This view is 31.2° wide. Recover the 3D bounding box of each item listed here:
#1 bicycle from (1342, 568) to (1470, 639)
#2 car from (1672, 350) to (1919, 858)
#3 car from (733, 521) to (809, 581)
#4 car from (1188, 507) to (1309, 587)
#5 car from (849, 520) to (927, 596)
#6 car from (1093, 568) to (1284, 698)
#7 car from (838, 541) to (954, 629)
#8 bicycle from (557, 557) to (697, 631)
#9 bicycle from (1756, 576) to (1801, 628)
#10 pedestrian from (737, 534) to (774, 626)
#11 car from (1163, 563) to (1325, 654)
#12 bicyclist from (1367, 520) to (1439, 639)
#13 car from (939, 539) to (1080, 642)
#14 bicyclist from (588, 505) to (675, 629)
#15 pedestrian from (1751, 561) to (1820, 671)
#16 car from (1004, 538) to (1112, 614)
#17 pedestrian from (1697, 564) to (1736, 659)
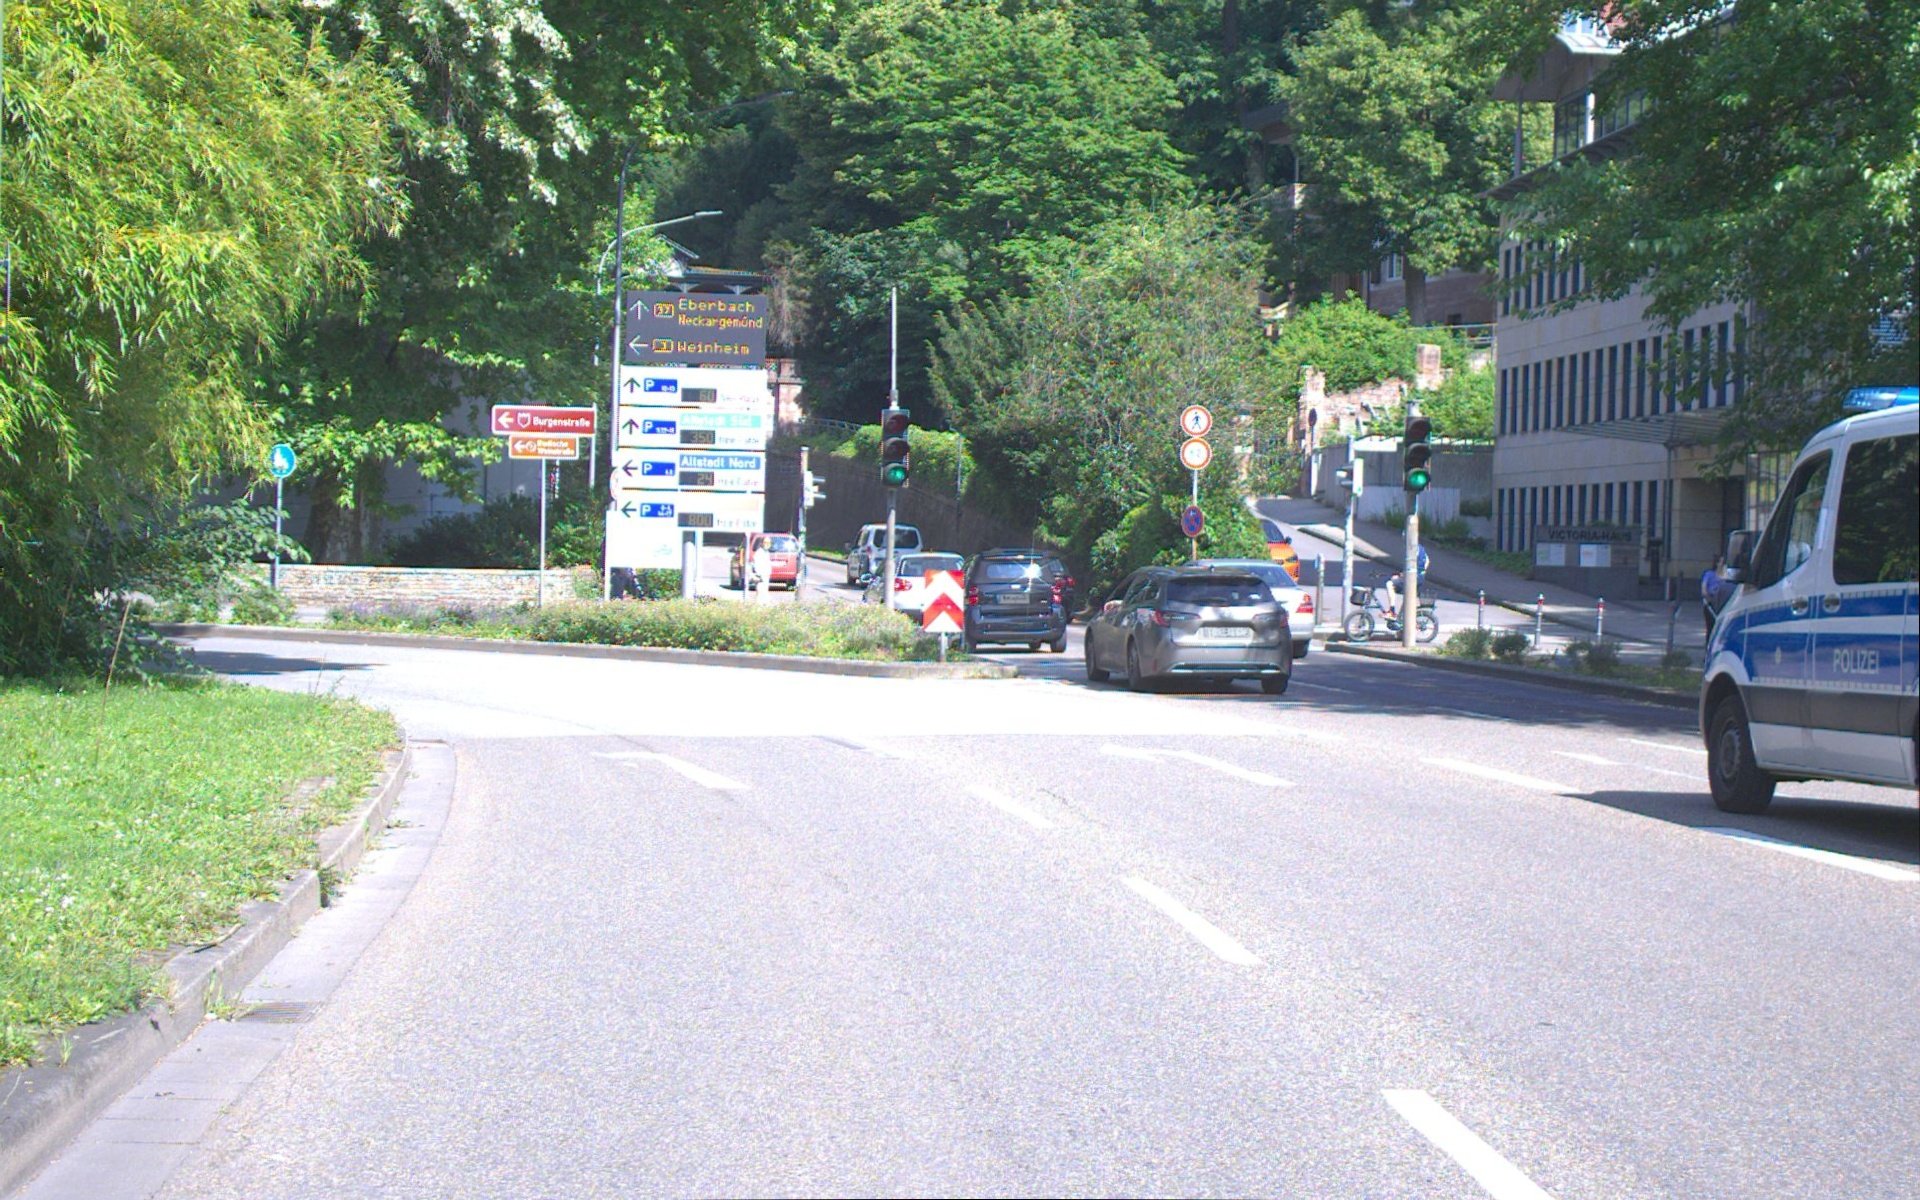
[{"bbox_3d":[7.414,0.049,57.203,2.077,1.109,0.756,2,1,7],"label":"bicycle"},{"bbox_3d":[5.619,0.026,18.405,2.073,2.500,4.930,2,1,-6],"label":"car"},{"bbox_3d":[-4.864,-1.274,88.101,1.756,1.456,3.495,2,1,-6],"label":"car"},{"bbox_3d":[6.274,-1.154,75.179,1.931,1.691,4.001,1,1,-5],"label":"car"},{"bbox_3d":[-1.948,-1.142,91.944,1.756,1.931,3.495,2,1,-6],"label":"car"},{"bbox_3d":[2.586,0.345,39.646,1.756,1.329,3.802,2,1,-2],"label":"car"},{"bbox_3d":[-1.173,-0.298,61.458,1.756,1.456,3.646,2,1,-6],"label":"car"},{"bbox_3d":[-5.310,-0.103,54.857,2.078,1.109,0.756,2,1,20],"label":"bicycle"},{"bbox_3d":[15.335,0.029,64.443,0.405,0.938,1.341,1,1,-5],"label":"bicycle"},{"bbox_3d":[-3.610,-0.357,60.712,0.547,1.615,0.634,1,1,4],"label":"pedestrian"},{"bbox_3d":[4.160,0.109,50.866,1.756,1.209,3.495,2,1,-6],"label":"car"},{"bbox_3d":[7.367,-0.343,57.201,1.126,1.926,0.748,2,1,8],"label":"bicyclist"},{"bbox_3d":[0.732,-0.170,53.030,1.756,1.456,3.495,2,1,-6],"label":"car"},{"bbox_3d":[-5.236,-0.530,54.827,1.127,1.926,0.747,2,1,20],"label":"bicyclist"},{"bbox_3d":[12.789,0.244,53.274,0.771,1.657,0.829,2,1,-4],"label":"pedestrian"},{"bbox_3d":[1.994,-0.522,71.109,1.756,1.456,3.646,2,1,-6],"label":"car"},{"bbox_3d":[11.662,0.173,53.012,0.489,1.453,0.733,1,1,19],"label":"pedestrian"}]
